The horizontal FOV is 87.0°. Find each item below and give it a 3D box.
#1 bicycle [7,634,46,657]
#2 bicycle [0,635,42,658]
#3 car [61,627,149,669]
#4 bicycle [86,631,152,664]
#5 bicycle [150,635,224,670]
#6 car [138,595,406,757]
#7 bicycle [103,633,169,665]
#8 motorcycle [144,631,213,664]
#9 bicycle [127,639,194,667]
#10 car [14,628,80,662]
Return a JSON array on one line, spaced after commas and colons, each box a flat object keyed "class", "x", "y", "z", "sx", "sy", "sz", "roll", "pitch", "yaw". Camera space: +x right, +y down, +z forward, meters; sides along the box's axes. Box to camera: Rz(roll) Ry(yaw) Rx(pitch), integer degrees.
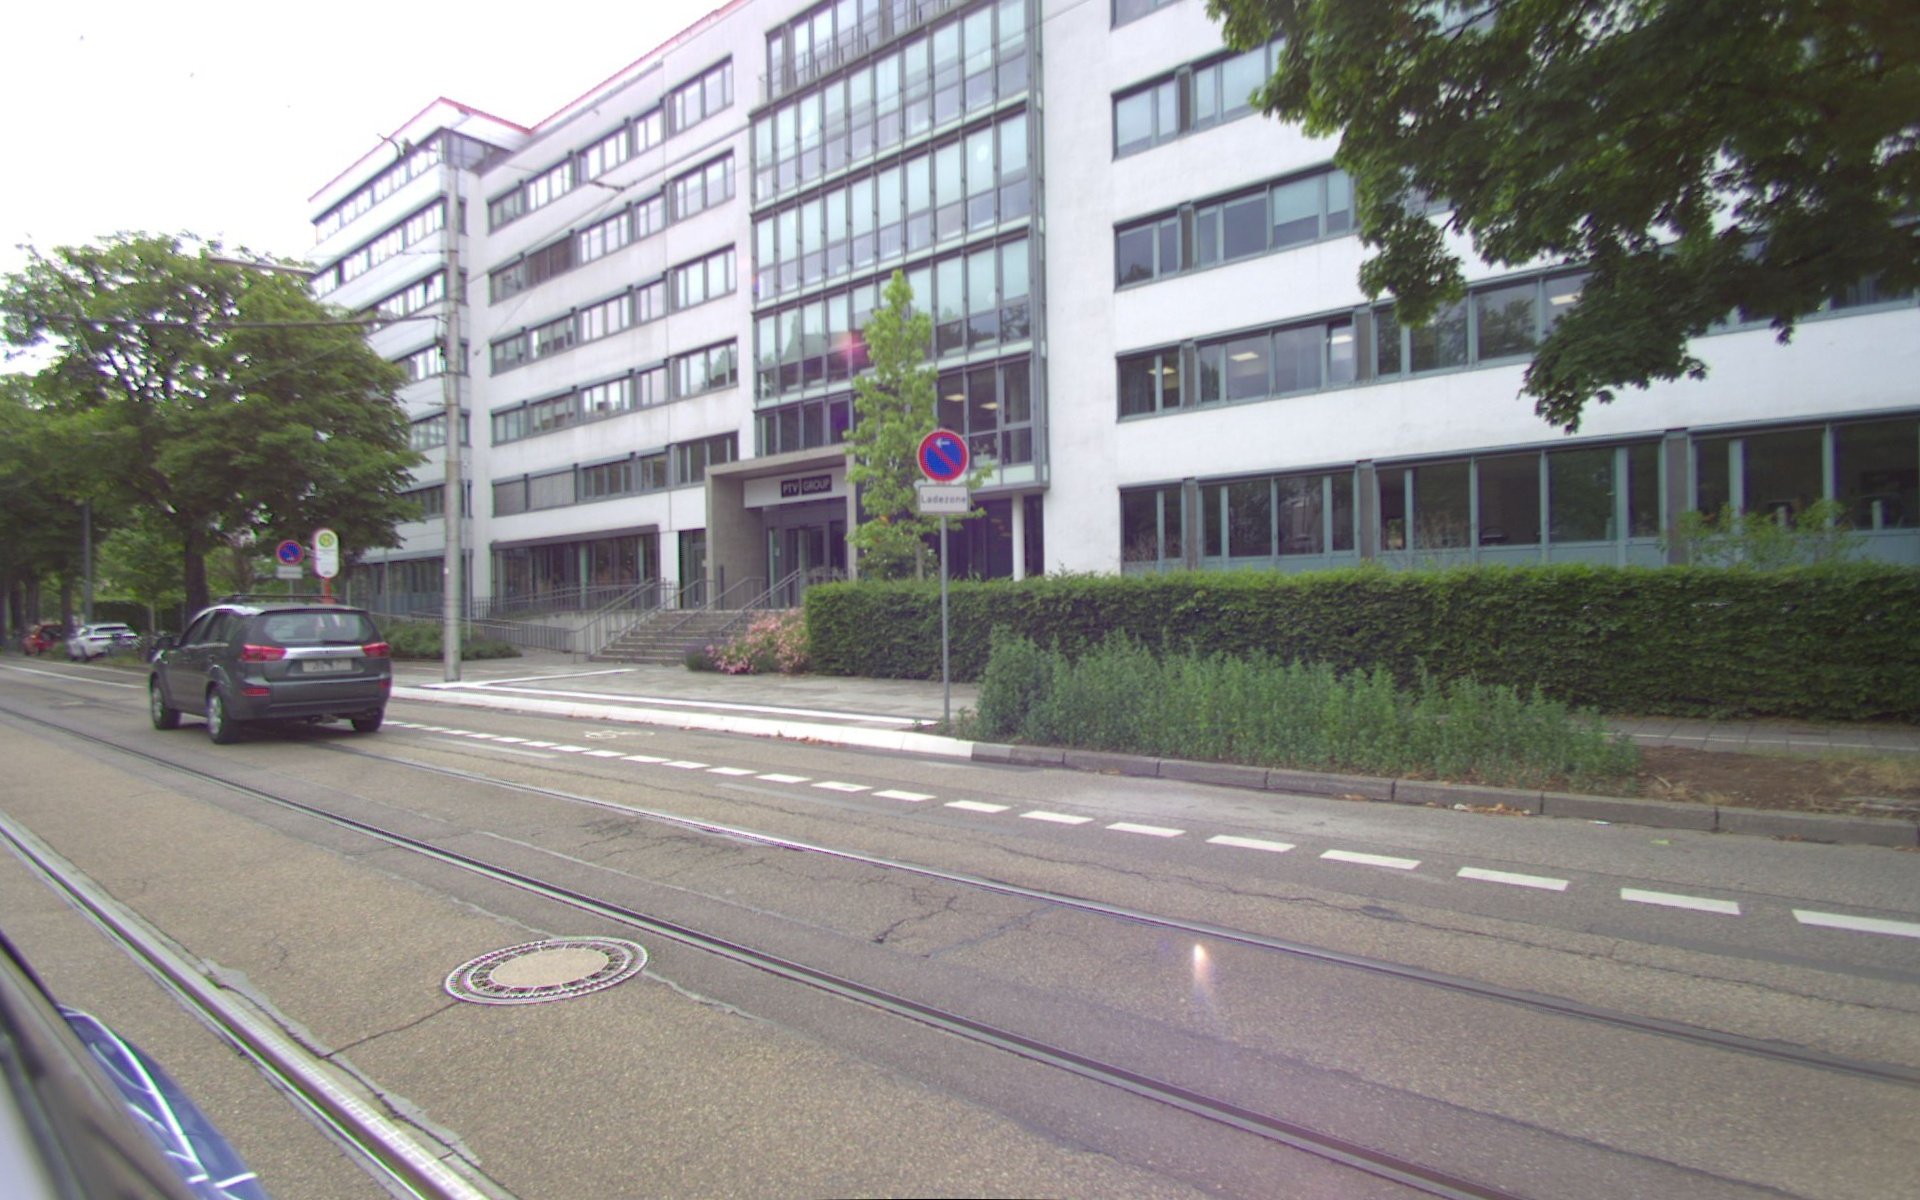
[{"class": "bicycle", "x": -49.884, "y": 2.431, "z": 54.074, "sx": 0.616, "sy": 1.149, "sz": 1.455, "roll": -1, "pitch": 0, "yaw": 38}, {"class": "bicycle", "x": -49.326, "y": 2.425, "z": 53.174, "sx": 0.614, "sy": 1.100, "sz": 1.460, "roll": -1, "pitch": 1, "yaw": 27}, {"class": "car", "x": -34.010, "y": 1.867, "z": 40.214, "sx": 4.749, "sy": 1.504, "sz": 1.862, "roll": -2, "pitch": 1, "yaw": 40}, {"class": "bicycle", "x": -31.851, "y": 1.789, "z": 38.349, "sx": 0.632, "sy": 1.195, "sz": 1.843, "roll": -2, "pitch": -2, "yaw": 44}, {"class": "bicycle", "x": -25.857, "y": 1.740, "z": 33.883, "sx": 0.739, "sy": 1.061, "sz": 1.815, "roll": -2, "pitch": -1, "yaw": 31}, {"class": "car", "x": -8.973, "y": 0.844, "z": 13.061, "sx": 4.332, "sy": 1.750, "sz": 1.808, "roll": -1, "pitch": -1, "yaw": 41}, {"class": "bicycle", "x": -30.728, "y": 1.812, "z": 37.767, "sx": 0.630, "sy": 1.108, "sz": 1.791, "roll": -1, "pitch": -1, "yaw": 33}, {"class": "motorcycle", "x": -27.393, "y": 1.647, "z": 35.487, "sx": 0.731, "sy": 1.058, "sz": 1.774, "roll": -1, "pitch": 0, "yaw": 33}, {"class": "bicycle", "x": -28.740, "y": 1.895, "z": 36.417, "sx": 0.630, "sy": 0.906, "sz": 1.791, "roll": -1, "pitch": -1, "yaw": 33}, {"class": "car", "x": -44.104, "y": 2.127, "z": 48.887, "sx": 3.750, "sy": 1.458, "sz": 1.613, "roll": -1, "pitch": 2, "yaw": 37}]
